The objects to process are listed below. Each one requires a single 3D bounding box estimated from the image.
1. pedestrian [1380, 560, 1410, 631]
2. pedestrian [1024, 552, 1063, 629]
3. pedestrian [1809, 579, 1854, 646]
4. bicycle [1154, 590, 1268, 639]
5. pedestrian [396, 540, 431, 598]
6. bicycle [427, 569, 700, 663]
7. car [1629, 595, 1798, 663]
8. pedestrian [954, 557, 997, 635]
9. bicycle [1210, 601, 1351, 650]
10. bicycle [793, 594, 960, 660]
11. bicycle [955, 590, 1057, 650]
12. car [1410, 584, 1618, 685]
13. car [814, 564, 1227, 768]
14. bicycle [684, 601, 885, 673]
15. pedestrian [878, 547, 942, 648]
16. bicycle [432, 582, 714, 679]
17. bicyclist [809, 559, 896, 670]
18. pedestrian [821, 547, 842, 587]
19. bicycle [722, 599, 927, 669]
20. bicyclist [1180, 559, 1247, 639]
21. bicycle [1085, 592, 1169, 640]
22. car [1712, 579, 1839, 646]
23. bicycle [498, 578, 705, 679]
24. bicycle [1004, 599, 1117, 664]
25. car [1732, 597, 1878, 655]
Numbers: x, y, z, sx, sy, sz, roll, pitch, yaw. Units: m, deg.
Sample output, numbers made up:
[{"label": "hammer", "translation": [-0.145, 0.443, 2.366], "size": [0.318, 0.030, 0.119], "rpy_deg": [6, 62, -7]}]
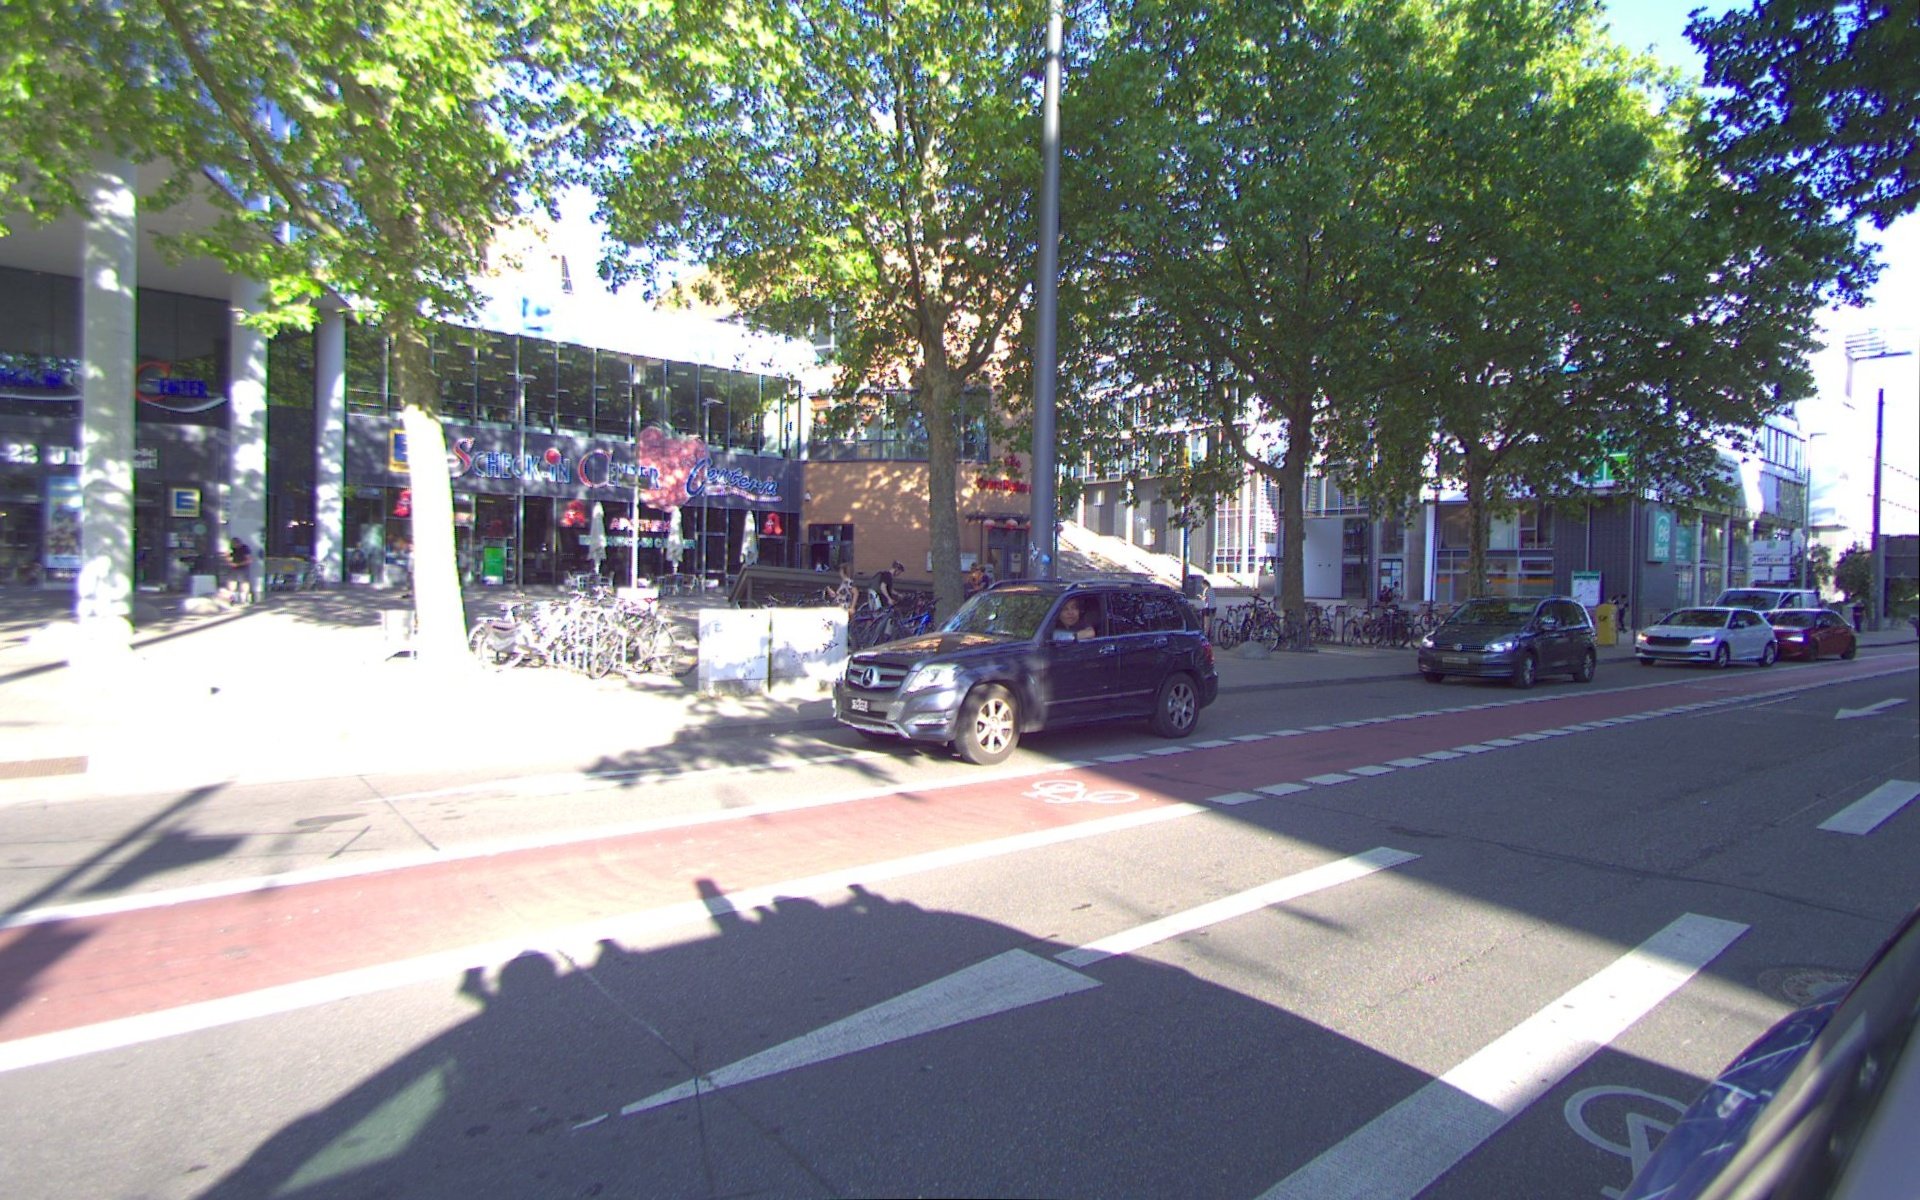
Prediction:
[{"label": "pedestrian", "translation": [16.707, -0.189, 38.873], "size": [0.967, 2.681, 0.897], "rpy_deg": [0, 0, 18]}, {"label": "pedestrian", "translation": [2.482, -0.287, 30.033], "size": [0.884, 2.261, 0.845], "rpy_deg": [0, 0, -19]}, {"label": "pedestrian", "translation": [27.059, 0.376, 31.422], "size": [0.959, 2.039, 0.816], "rpy_deg": [1, -1, -31]}, {"label": "bicycle", "translation": [6.561, 0.335, 26.798], "size": [1.124, 1.097, 3.342], "rpy_deg": [0, 2, -23]}, {"label": "pedestrian", "translation": [-16.975, -0.968, 31.438], "size": [0.823, 1.765, 0.645], "rpy_deg": [0, 1, -41]}, {"label": "bicycle", "translation": [-5.910, 0.290, 15.363], "size": [3.743, 1.236, 0.729], "rpy_deg": [4, -2, -35]}, {"label": "car", "translation": [18.404, 0.655, 24.685], "size": [4.111, 1.508, 1.839], "rpy_deg": [0, 0, -30]}, {"label": "pedestrian", "translation": [0.452, -0.120, 30.207], "size": [1.195, 2.276, 1.052], "rpy_deg": [0, 0, -3]}, {"label": "bicycle", "translation": [7.401, 0.571, 23.368], "size": [3.136, 1.038, 0.979], "rpy_deg": [0, 0, -18]}, {"label": "bicycle", "translation": [-1.273, 0.387, 15.993], "size": [2.591, 0.960, 0.924], "rpy_deg": [-1, 0, -41]}, {"label": "bicycle", "translation": [0.975, 0.385, 20.942], "size": [2.251, 1.177, 0.657], "rpy_deg": [-1, 0, -38]}, {"label": "car", "translation": [10.253, 0.561, 18.616], "size": [4.308, 1.656, 1.711], "rpy_deg": [0, 0, -36]}, {"label": "car", "translation": [0.757, 0.525, 10.298], "size": [4.176, 1.656, 1.767], "rpy_deg": [0, 0, -41]}, {"label": "bicycle", "translation": [-2.980, 0.587, 17.589], "size": [3.352, 1.013, 1.051], "rpy_deg": [-1, 6, -41]}, {"label": "pedestrian", "translation": [-1.031, -0.067, 21.123], "size": [0.922, 2.039, 1.085], "rpy_deg": [2, 1, 24]}, {"label": "bicycle", "translation": [-5.516, 0.380, 14.695], "size": [3.744, 1.236, 0.758], "rpy_deg": [-2, 1, -35]}, {"label": "bicyclist", "translation": [-1.659, 0.208, 15.668], "size": [1.005, 1.641, 0.902], "rpy_deg": [0, 0, -41]}, {"label": "pedestrian", "translation": [-5.745, -1.496, 45.377], "size": [0.640, 1.765, 0.659], "rpy_deg": [2, 1, 31]}, {"label": "bicycle", "translation": [-2.163, 0.504, 16.688], "size": [3.352, 1.014, 1.050], "rpy_deg": [-1, 0, -41]}, {"label": "bicyclist", "translation": [6.653, -0.037, 26.591], "size": [1.132, 2.039, 1.301], "rpy_deg": [0, 1, -24]}, {"label": "bicycle", "translation": [4.502, 0.413, 27.116], "size": [2.653, 1.215, 0.698], "rpy_deg": [-1, 1, -41]}, {"label": "car", "translation": [26.319, 0.357, 32.597], "size": [5.810, 1.989, 1.933], "rpy_deg": [0, 0, -38]}, {"label": "bicycle", "translation": [-4.788, 0.335, 13.644], "size": [2.504, 1.236, 0.758], "rpy_deg": [-2, 1, -35]}, {"label": "bicycle", "translation": [1.986, 0.586, 19.781], "size": [2.355, 1.177, 0.750], "rpy_deg": [-1, 0, -40]}, {"label": "car", "translation": [23.482, 0.692, 28.102], "size": [4.112, 1.508, 1.838], "rpy_deg": [0, -1, -31]}]
